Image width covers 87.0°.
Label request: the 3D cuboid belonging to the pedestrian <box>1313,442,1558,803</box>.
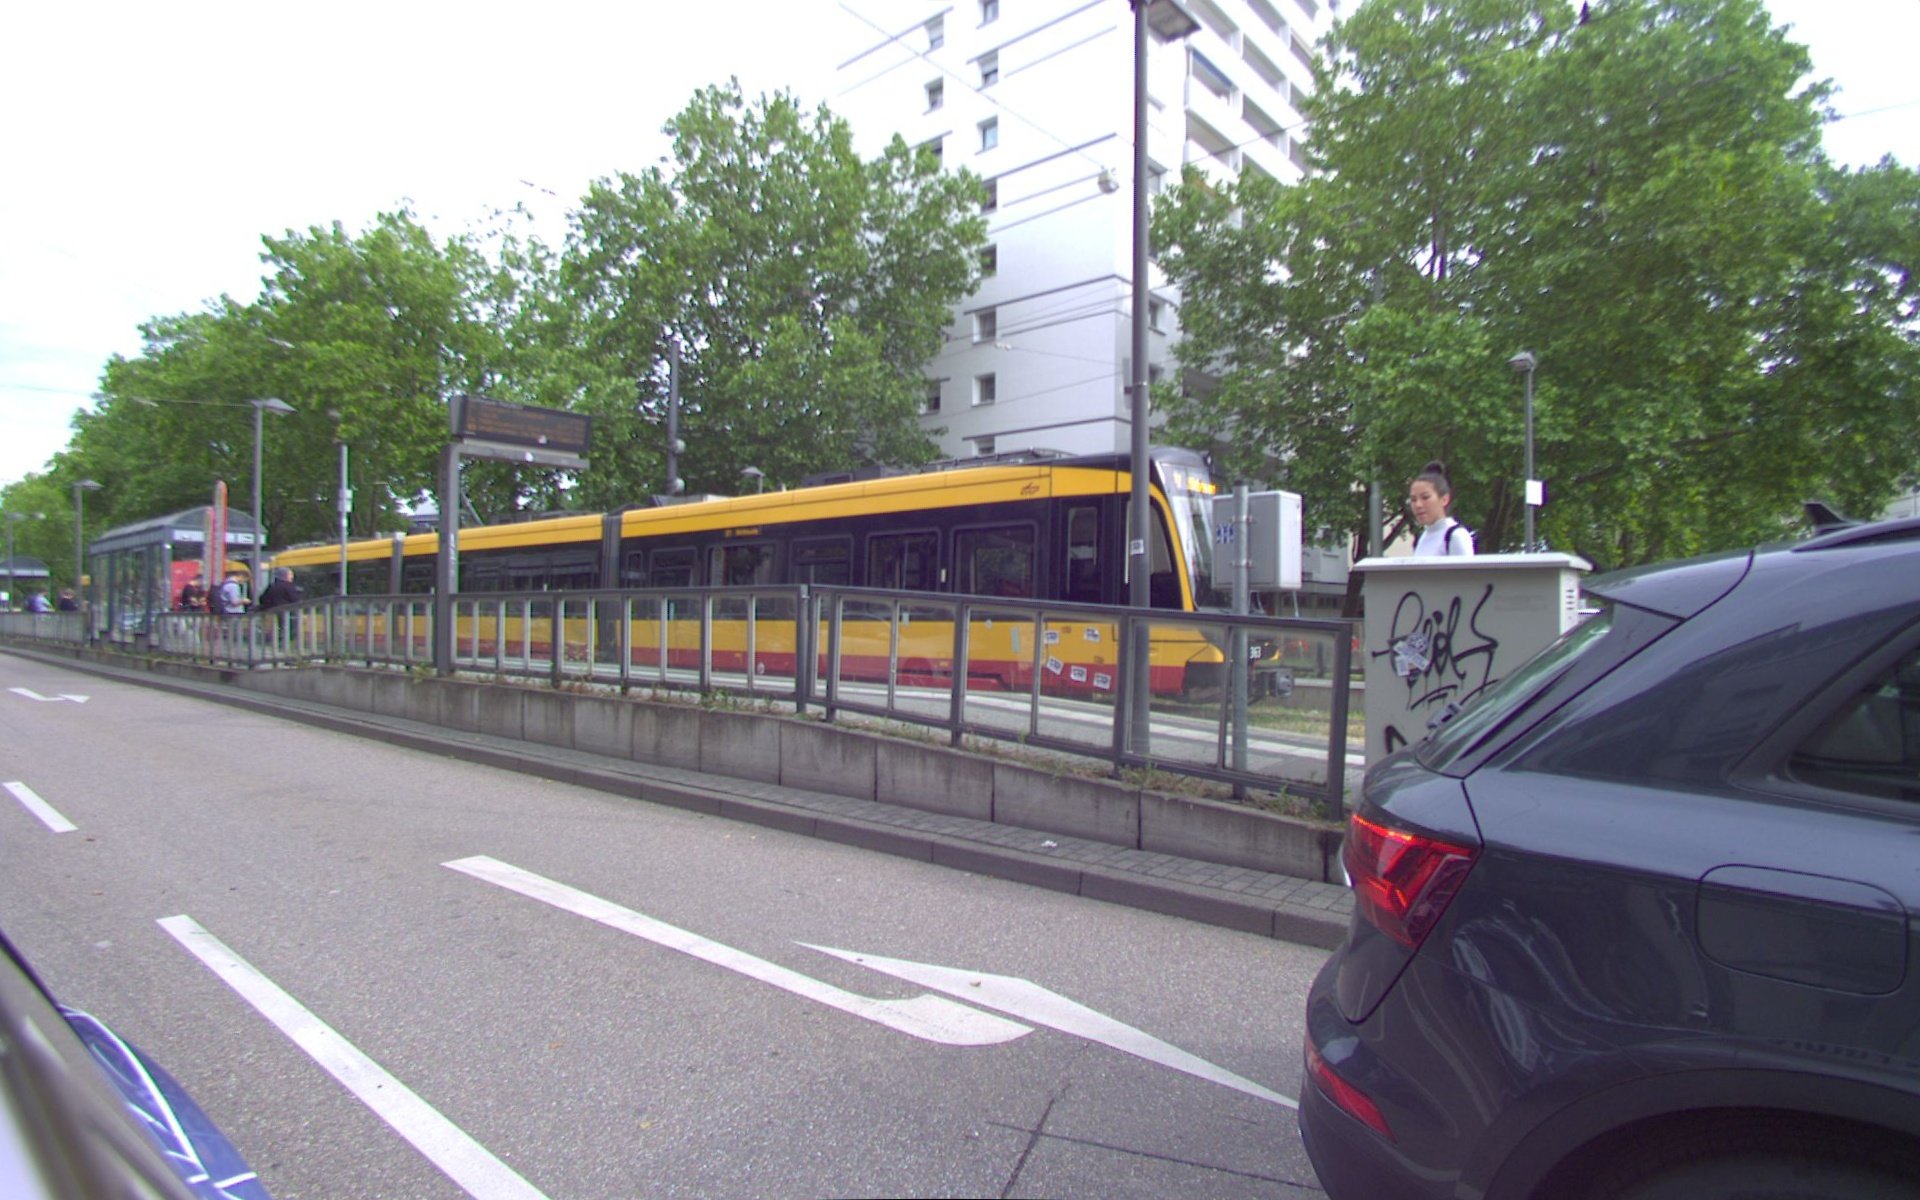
[{"bbox_3d":[2.379,0.108,5.180,0.969,1.683,0.718,-1,0,12],"label":"pedestrian"}]

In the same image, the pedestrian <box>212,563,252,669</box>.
[{"bbox_3d":[-12.752,0.271,17.726,0.605,1.818,0.469,-1,0,45],"label":"pedestrian"}]

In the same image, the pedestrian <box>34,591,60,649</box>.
[{"bbox_3d":[-29.039,0.630,32.195,0.523,1.818,0.607,-1,0,-35],"label":"pedestrian"}]

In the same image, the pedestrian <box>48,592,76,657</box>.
[{"bbox_3d":[-25.570,0.699,28.833,0.523,1.818,0.607,-1,0,-35],"label":"pedestrian"}]

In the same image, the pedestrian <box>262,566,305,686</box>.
[{"bbox_3d":[-10.531,0.393,15.751,0.513,1.818,0.606,-1,0,-37],"label":"pedestrian"}]

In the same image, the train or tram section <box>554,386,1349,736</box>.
[{"bbox_3d":[-1.631,-0.360,17.212,15.196,3.781,3.295,-1,0,41],"label":"train or tram section"}]

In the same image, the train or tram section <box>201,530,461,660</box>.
[{"bbox_3d":[-22.842,-0.084,35.897,16.241,3.781,3.295,-1,0,41],"label":"train or tram section"}]

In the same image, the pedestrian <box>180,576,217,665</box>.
[{"bbox_3d":[-15.926,0.424,21.172,0.467,1.818,0.607,-1,0,-24],"label":"pedestrian"}]

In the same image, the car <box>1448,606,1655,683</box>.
[{"bbox_3d":[11.655,0.852,20.133,3.187,1.439,1.577,0,-1,12],"label":"car"}]

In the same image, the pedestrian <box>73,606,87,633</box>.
[{"bbox_3d":[-68.343,1.521,78.565,0.756,2.029,0.710,-1,-1,41],"label":"pedestrian"}]

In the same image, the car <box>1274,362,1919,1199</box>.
[{"bbox_3d":[2.687,0.522,0.982,4.225,1.649,1.715,-1,0,41],"label":"car"}]

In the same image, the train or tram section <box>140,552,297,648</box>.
[{"bbox_3d":[-33.090,0.049,44.903,11.039,3.781,3.295,-1,0,41],"label":"train or tram section"}]

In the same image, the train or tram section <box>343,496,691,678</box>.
[{"bbox_3d":[-12.044,-0.225,26.352,12.543,3.781,3.295,-1,0,41],"label":"train or tram section"}]
